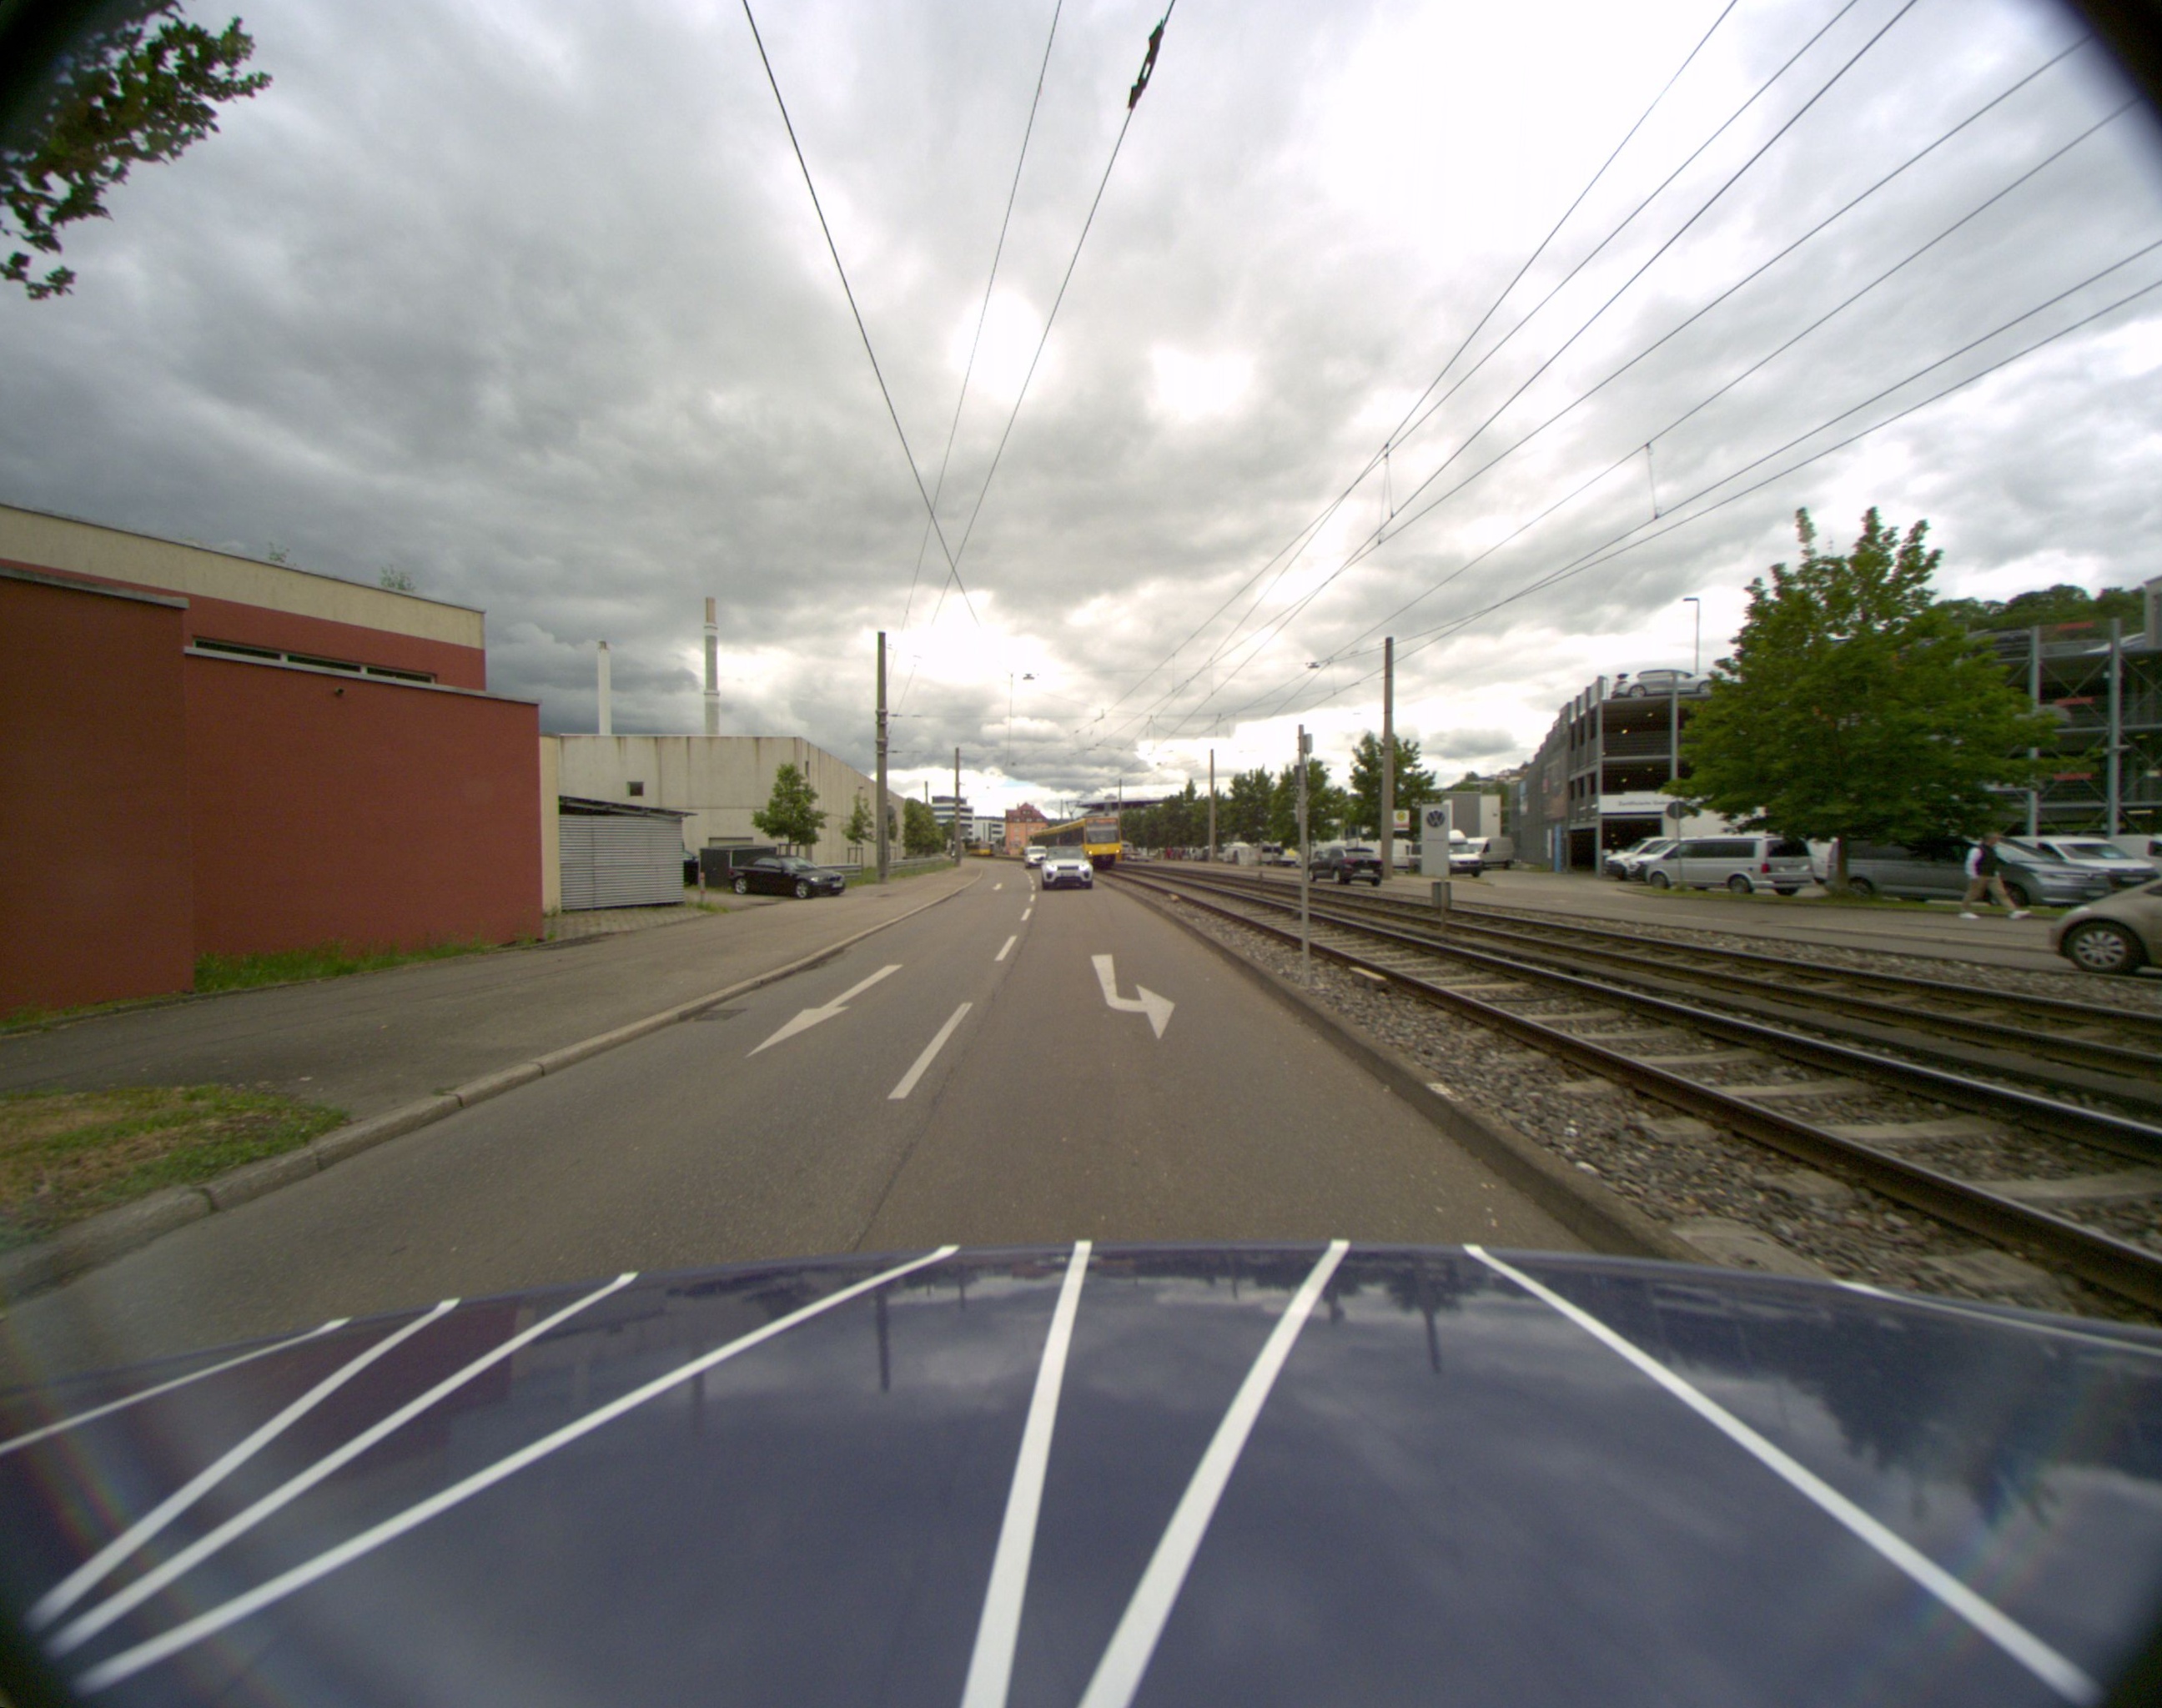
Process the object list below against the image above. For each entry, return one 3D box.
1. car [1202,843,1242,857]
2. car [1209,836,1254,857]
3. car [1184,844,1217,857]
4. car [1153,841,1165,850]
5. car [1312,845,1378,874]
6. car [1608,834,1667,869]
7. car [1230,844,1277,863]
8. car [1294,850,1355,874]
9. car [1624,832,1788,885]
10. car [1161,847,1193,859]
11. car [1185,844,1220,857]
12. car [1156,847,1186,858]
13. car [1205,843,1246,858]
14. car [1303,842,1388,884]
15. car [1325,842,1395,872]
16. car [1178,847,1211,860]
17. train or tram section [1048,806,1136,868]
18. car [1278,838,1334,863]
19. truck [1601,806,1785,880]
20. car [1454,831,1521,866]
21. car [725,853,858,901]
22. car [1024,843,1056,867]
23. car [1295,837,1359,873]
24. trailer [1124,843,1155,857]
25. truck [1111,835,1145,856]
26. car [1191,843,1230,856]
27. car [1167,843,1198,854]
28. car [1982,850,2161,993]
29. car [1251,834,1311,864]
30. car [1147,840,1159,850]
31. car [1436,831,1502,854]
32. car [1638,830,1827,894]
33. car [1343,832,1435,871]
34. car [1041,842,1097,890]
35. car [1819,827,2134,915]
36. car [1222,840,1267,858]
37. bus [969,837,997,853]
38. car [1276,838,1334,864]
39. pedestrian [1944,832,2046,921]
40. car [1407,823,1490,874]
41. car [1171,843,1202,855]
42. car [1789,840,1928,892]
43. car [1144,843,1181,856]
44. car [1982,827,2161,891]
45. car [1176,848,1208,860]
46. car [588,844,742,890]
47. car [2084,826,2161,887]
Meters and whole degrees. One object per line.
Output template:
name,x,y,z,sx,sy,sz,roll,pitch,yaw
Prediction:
car,17.116,-0.492,92.218,4.378,1.676,2.003,-1,1,-4
car,16.784,-0.836,84.679,4.509,2.298,2.124,-1,1,-4
car,15.720,-0.440,100.162,3.998,1.608,1.999,-1,1,-3
car,16.768,-1.797,163.960,1.996,2.002,4.004,0,1,15
car,20.060,0.401,57.821,4.380,2.093,2.002,-1,1,-9
car,32.202,-0.152,43.938,4.008,1.893,1.994,-1,1,-42
car,18.158,-0.110,80.128,4.378,1.936,2.003,-1,1,-4
car,20.124,0.649,62.970,4.380,1.899,2.002,-1,1,-9
car,25.107,0.170,30.767,4.719,2.002,2.003,0,1,22
car,14.315,-0.151,113.291,4.357,1.608,2.119,-1,1,-3
car,15.470,-0.431,97.018,3.998,1.608,1.999,-1,1,-3
car,13.753,-0.188,116.242,4.348,1.608,2.153,-1,1,-3
car,17.044,-0.415,89.847,4.378,1.608,2.003,-1,1,-4
car,10.825,0.336,31.424,1.692,1.523,4.254,2,0,-5
car,20.318,0.234,55.483,4.380,2.093,2.002,-1,1,-9
car,15.339,-0.063,102.703,3.998,1.608,1.999,-1,1,-3
train or tram section,0.382,-1.243,58.331,3.399,3.984,16.925,-2,1,-10
car,20.090,-0.360,68.036,4.380,2.160,2.002,-1,1,-9
truck,26.620,-0.452,33.376,5.924,3.067,2.123,0,1,24
car,31.193,-0.429,58.236,5.963,2.587,1.999,-1,1,-34
car,-9.947,0.742,26.123,4.223,1.435,1.766,1,1,23
car,-3.459,0.045,63.197,2.000,1.882,4.622,-1,0,-11
car,19.489,0.071,60.297,4.380,2.803,2.002,-1,1,-9
trailer,7.108,-0.512,93.529,2.390,1.688,6.942,1,0,-7
truck,6.243,-1.112,101.558,2.765,2.725,9.211,1,0,-8
car,16.139,-0.582,94.664,4.379,1.608,2.003,-1,1,-7
car,14.628,-0.825,109.859,4.190,1.608,2.062,-1,1,-3
car,12.532,0.762,7.568,1.896,1.523,4.254,2,0,-3
car,18.613,-0.500,70.775,4.982,2.683,2.113,-1,1,-9
car,15.653,-1.953,165.172,1.996,2.002,4.004,0,1,15
car,34.191,-1.033,67.082,4.857,2.002,1.999,0,1,-3
car,22.241,0.239,26.275,2.000,2.002,4.915,0,0,-7
car,21.355,-0.158,52.801,5.489,2.587,2.245,-1,1,-5
car,-0.463,0.418,29.842,1.999,1.718,3.999,-2,1,-1
car,23.080,0.371,20.019,2.000,2.002,5.126,0,0,-6
car,17.707,-0.540,82.320,4.378,1.834,2.003,-1,1,-4
bus,-25.057,-2.369,193.736,3.565,3.931,10.469,-3,2,-26
car,19.269,-0.237,65.366,4.380,2.160,2.002,-1,1,-9
pedestrian,17.928,0.426,14.922,0.720,1.646,1.041,-3,1,-12
car,22.823,-0.329,47.511,2.113,3.002,5.934,0,1,-3
car,14.868,-0.701,107.063,3.998,1.655,2.047,-1,1,-3
car,29.059,0.399,28.617,1.995,1.820,4.474,0,1,22
car,12.981,-0.667,121.274,5.704,1.996,2.146,0,1,13
car,33.835,0.139,26.001,1.995,2.001,4.474,0,1,22
car,15.322,-0.062,104.792,3.998,1.608,1.999,-1,1,-3
car,-15.374,0.416,28.308,2.154,1.539,4.530,2,2,38
car,36.476,0.074,25.213,1.995,2.001,4.475,0,1,25
